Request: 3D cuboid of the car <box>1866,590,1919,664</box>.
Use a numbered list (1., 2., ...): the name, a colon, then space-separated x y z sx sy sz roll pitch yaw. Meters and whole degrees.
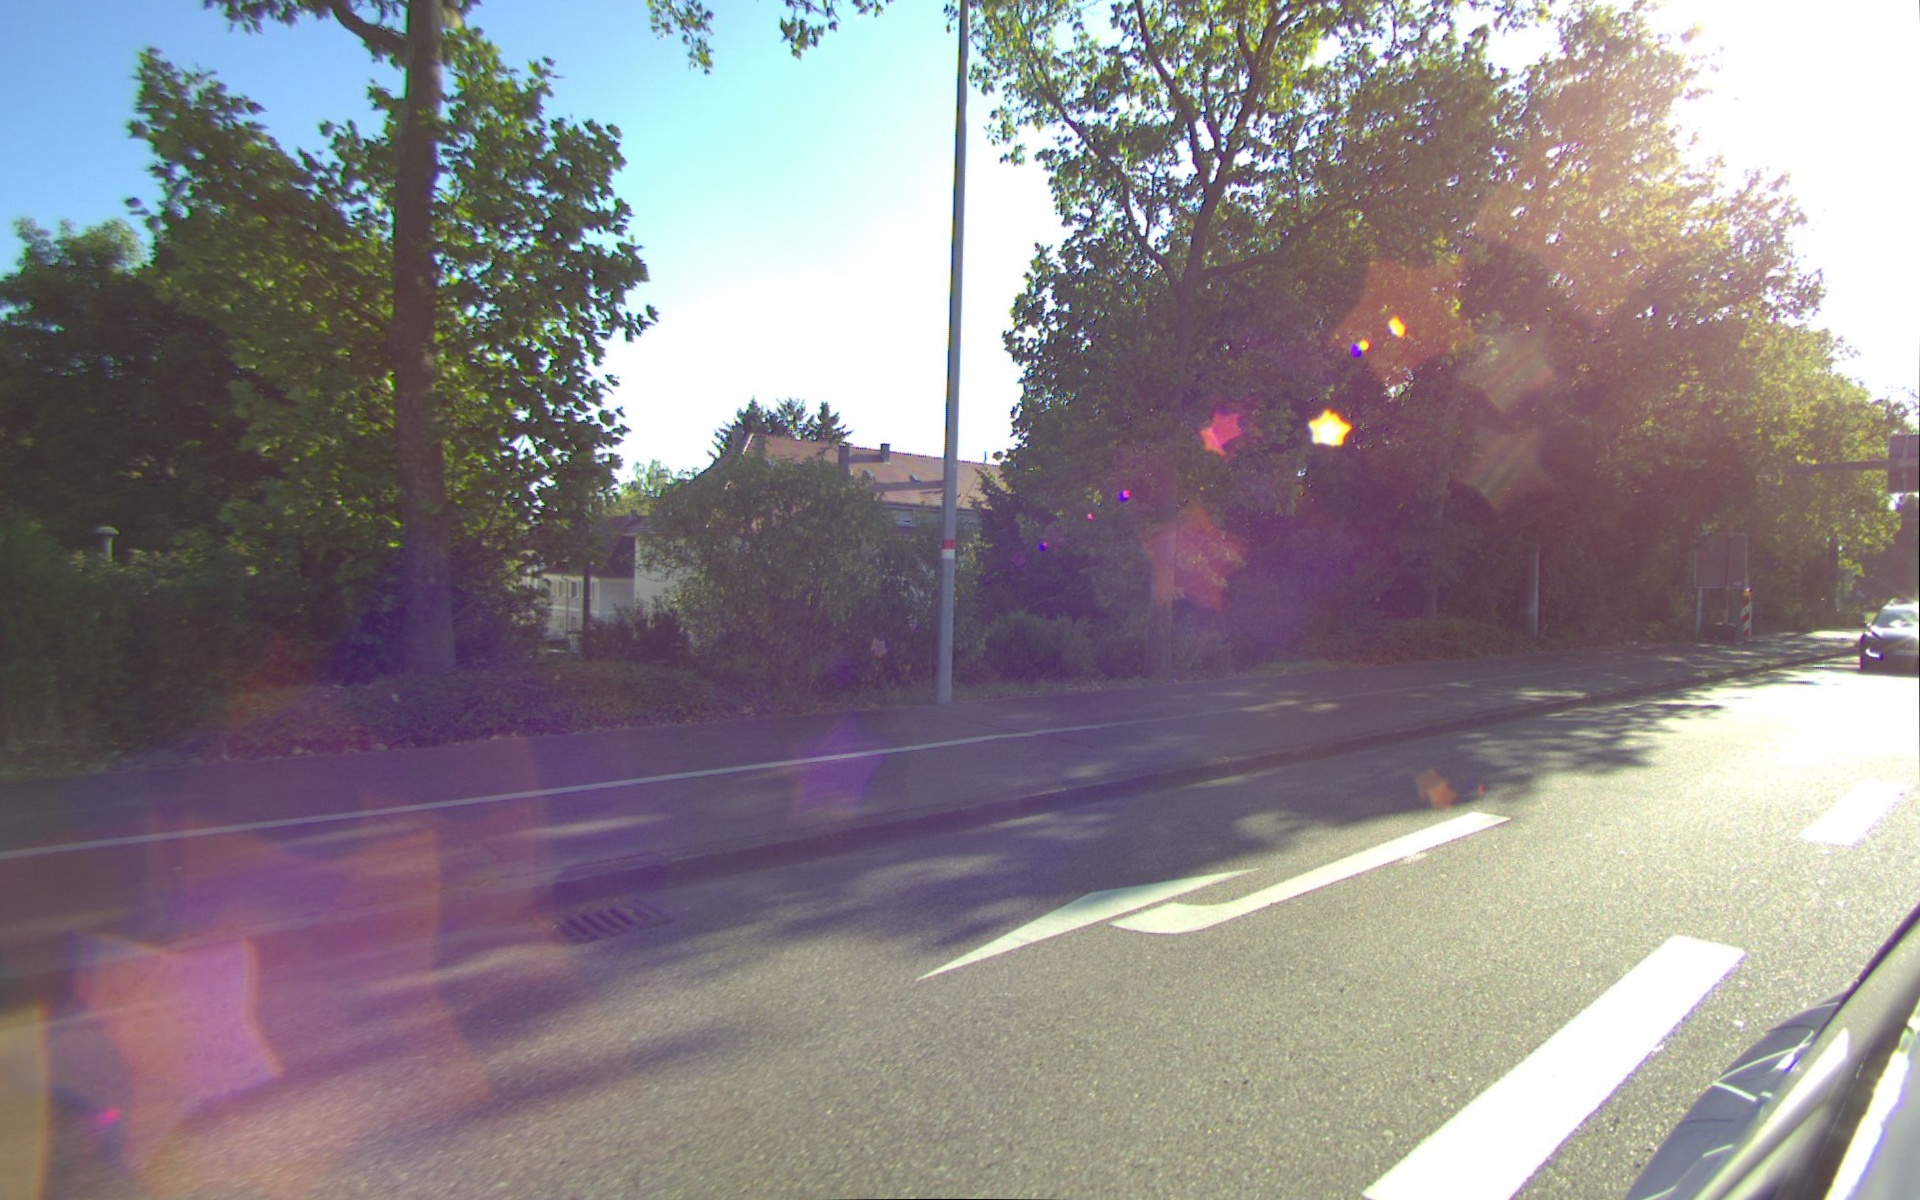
1. car: 22.167 0.586 23.040 3.930 1.558 1.785 0 1 -41
